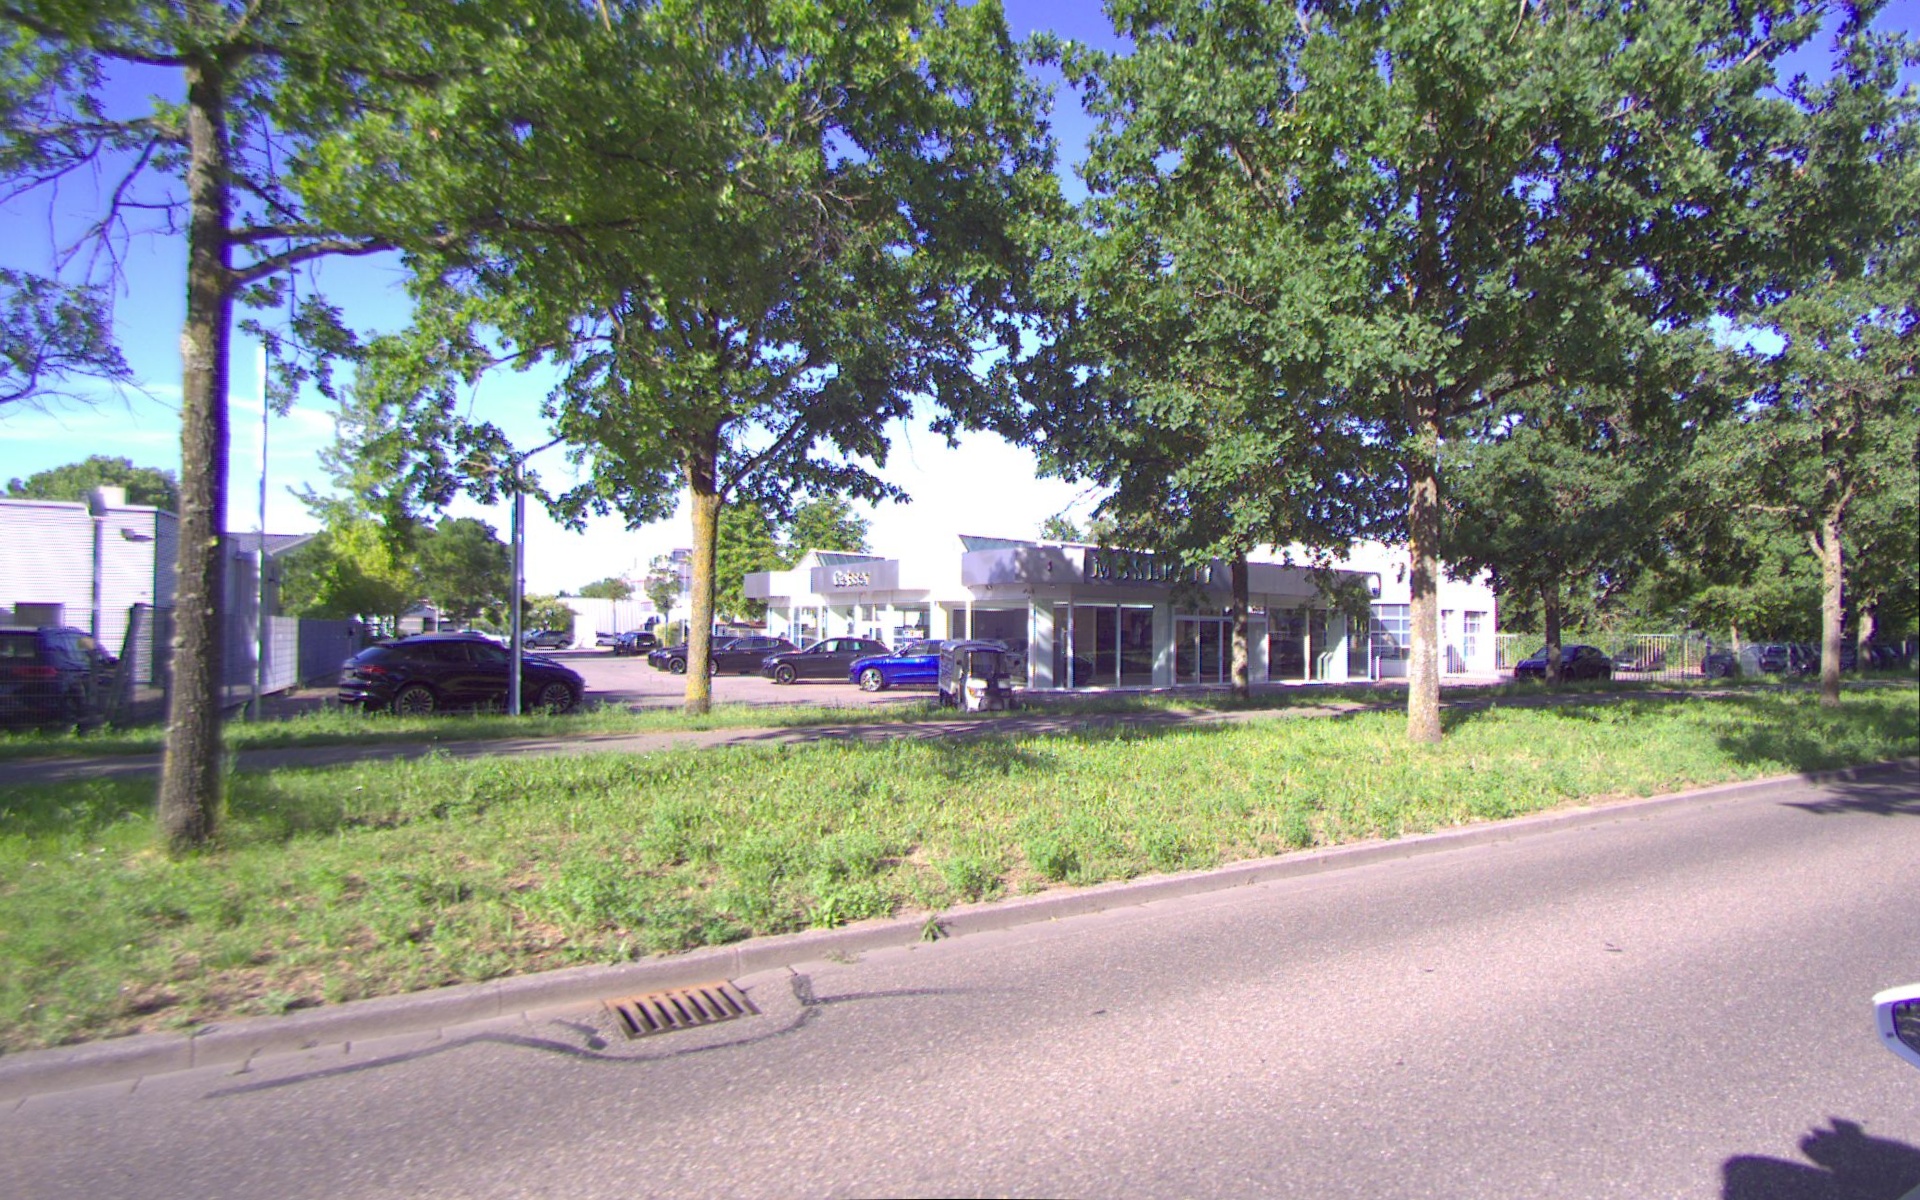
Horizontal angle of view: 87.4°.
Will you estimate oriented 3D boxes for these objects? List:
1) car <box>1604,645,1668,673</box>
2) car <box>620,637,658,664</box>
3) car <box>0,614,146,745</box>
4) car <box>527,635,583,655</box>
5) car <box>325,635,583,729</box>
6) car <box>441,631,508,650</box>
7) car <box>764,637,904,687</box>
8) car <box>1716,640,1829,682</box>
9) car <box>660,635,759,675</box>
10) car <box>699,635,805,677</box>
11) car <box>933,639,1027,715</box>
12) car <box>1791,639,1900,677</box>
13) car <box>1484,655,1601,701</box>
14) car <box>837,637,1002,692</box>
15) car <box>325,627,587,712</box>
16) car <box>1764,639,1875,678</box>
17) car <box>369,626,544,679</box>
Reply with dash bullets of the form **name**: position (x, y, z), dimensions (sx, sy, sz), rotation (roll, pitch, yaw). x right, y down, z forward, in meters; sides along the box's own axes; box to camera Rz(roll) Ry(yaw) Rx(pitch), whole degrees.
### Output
- **car**: position (43.307, 3.753, 64.307), dimensions (4.842, 1.587, 1.978), rotation (2, 0, -38)
- **car**: position (-23.724, 3.709, 74.162), dimensions (1.975, 1.772, 3.971), rotation (2, 0, -28)
- **car**: position (-14.738, 1.161, 15.925), dimensions (1.974, 1.765, 3.972), rotation (2, 0, -27)
- **car**: position (-36.036, 3.974, 89.466), dimensions (4.462, 1.683, 1.986), rotation (1, -1, -27)
- **car**: position (-10.575, 1.622, 21.238), dimensions (1.972, 1.697, 4.473), rotation (1, 0, 43)
- **car**: position (-43.702, 3.650, 90.498), dimensions (5.362, 1.683, 1.986), rotation (1, -1, -27)
- **car**: position (-4.518, 2.227, 36.559), dimensions (4.913, 1.683, 1.999), rotation (0, 0, -3)
- **car**: position (39.869, 2.958, 49.356), dimensions (1.982, 1.825, 3.956), rotation (2, 0, -38)
- **car**: position (-11.343, 2.465, 45.454), dimensions (4.239, 1.683, 1.993), rotation (1, -1, -18)
- **car**: position (-8.720, 2.356, 42.346), dimensions (4.231, 1.683, 1.996), rotation (1, -1, -11)
- **car**: position (0.384, 1.597, 21.545), dimensions (1.401, 1.489, 2.569), rotation (1, -2, -14)
- **car**: position (48.613, 3.147, 55.202), dimensions (1.981, 1.825, 4.161), rotation (2, 0, -36)
- **car**: position (23.360, 3.063, 40.231), dimensions (4.960, 1.619, 1.982), rotation (2, 0, -33)
- **car**: position (-1.288, 2.102, 33.150), dimensions (5.153, 1.683, 2.001), rotation (0, 0, 8)
- **car**: position (-11.909, 1.576, 24.029), dimensions (1.973, 1.740, 5.226), rotation (1, 0, 45)
- **car**: position (46.088, 3.086, 53.927), dimensions (1.981, 1.825, 4.161), rotation (2, 0, -36)
- **car**: position (-17.894, 1.840, 35.871), dimensions (5.223, 1.683, 1.974), rotation (2, 0, -43)
